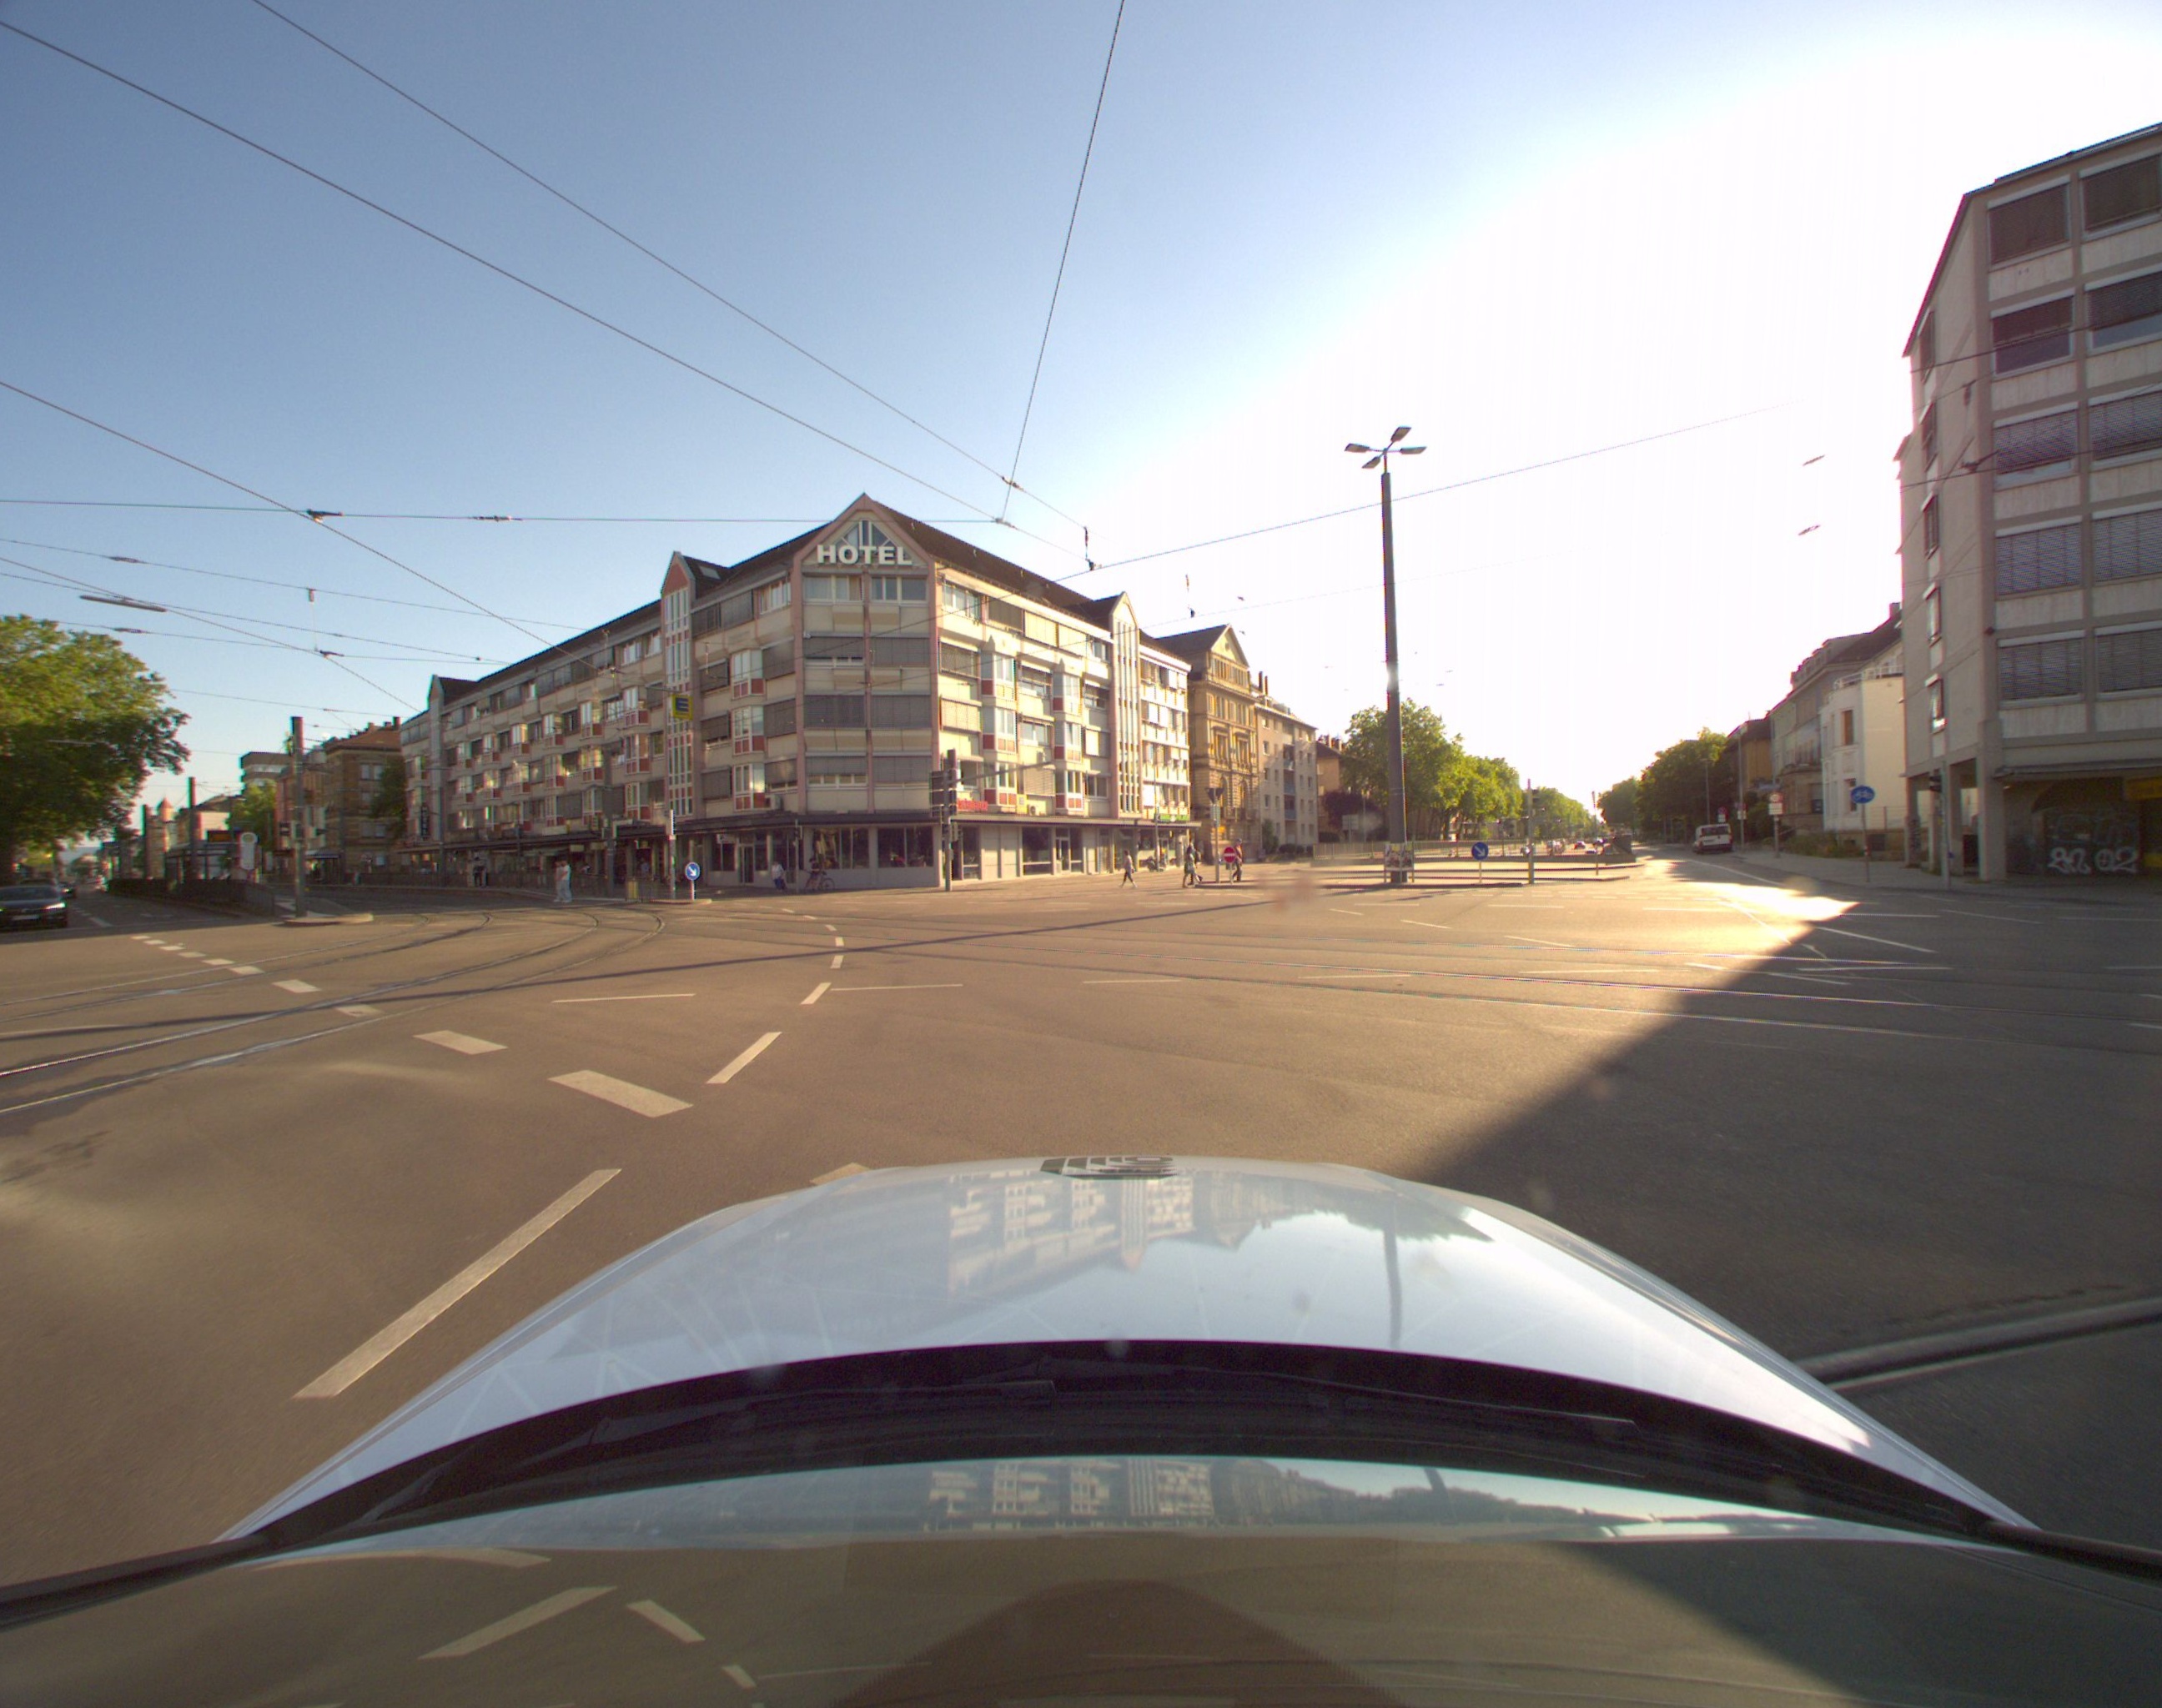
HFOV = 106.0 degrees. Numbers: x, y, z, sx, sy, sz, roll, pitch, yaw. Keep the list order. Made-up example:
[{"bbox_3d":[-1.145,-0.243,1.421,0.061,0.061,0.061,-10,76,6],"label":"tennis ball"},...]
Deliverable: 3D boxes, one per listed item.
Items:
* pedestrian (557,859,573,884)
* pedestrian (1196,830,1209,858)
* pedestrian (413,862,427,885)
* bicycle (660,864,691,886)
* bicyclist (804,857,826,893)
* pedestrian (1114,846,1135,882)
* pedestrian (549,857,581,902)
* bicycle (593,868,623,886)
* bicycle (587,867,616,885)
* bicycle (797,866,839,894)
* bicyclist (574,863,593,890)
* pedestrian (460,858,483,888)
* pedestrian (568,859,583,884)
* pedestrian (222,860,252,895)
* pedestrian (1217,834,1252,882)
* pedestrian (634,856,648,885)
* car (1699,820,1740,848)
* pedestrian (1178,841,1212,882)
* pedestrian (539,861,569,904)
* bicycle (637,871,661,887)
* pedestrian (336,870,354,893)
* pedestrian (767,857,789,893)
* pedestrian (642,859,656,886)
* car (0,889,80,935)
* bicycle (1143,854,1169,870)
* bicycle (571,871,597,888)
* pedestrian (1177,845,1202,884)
[{"bbox_3d":[-34.921,1.184,55.127,0.543,1.644,0.757,0,1,42],"label":"pedestrian"},{"bbox_3d":[10.346,-0.872,69.494,0.918,2.398,0.966,0,1,22],"label":"pedestrian"},{"bbox_3d":[-59.901,1.751,73.821,0.767,2.013,0.847,0,1,42],"label":"pedestrian"},{"bbox_3d":[-23.742,1.232,47.679,2.302,1.226,0.734,-1,0,38],"label":"bicycle"},{"bbox_3d":[-12.452,0.975,38.168,0.632,1.596,0.662,0,3,36],"label":"bicyclist"},{"bbox_3d":[1.804,0.421,33.563,0.850,1.465,0.686,0,-4,4],"label":"pedestrian"},{"bbox_3d":[-20.674,1.019,32.656,0.505,1.764,1.009,0,1,13],"label":"pedestrian"},{"bbox_3d":[-31.862,1.522,54.886,0.478,1.119,1.660,0,1,33],"label":"bicycle"},{"bbox_3d":[-32.883,1.507,55.863,0.559,1.119,1.660,0,1,33],"label":"bicycle"},{"bbox_3d":[-12.352,1.192,38.313,0.632,1.145,1.781,0,4,36],"label":"bicycle"},{"bbox_3d":[-29.309,1.296,47.958,0.791,1.532,0.633,-1,3,38],"label":"bicyclist"},{"bbox_3d":[-33.894,1.047,45.310,0.675,1.659,0.786,0,1,27],"label":"pedestrian"},{"bbox_3d":[-35.676,1.234,57.472,0.822,1.778,0.674,0,1,-27],"label":"pedestrian"},{"bbox_3d":[-38.401,1.056,37.052,0.615,1.577,0.693,0,1,13],"label":"pedestrian"},{"bbox_3d":[6.135,0.147,32.561,1.183,1.883,0.862,0,2,28],"label":"pedestrian"},{"bbox_3d":[-28.547,1.085,52.792,0.596,1.852,0.614,0,1,43],"label":"pedestrian"},{"bbox_3d":[50.992,-1.577,65.103,2.263,2.172,4.864,0,1,35],"label":"car"},{"bbox_3d":[4.842,0.304,34.605,1.183,1.731,0.861,0,1,28],"label":"pedestrian"},{"bbox_3d":[-21.574,1.154,33.333,0.619,1.694,0.868,0,1,1],"label":"pedestrian"},{"bbox_3d":[-26.194,1.506,49.395,2.051,0.917,0.504,-1,0,38],"label":"bicycle"},{"bbox_3d":[-56.208,2.106,62.182,0.675,1.659,0.786,0,1,27],"label":"pedestrian"},{"bbox_3d":[-14.376,0.975,38.605,0.710,1.662,0.635,-2,0,9],"label":"pedestrian"},{"bbox_3d":[-26.927,1.152,50.786,0.609,1.635,0.601,0,1,-12],"label":"pedestrian"},{"bbox_3d":[-35.691,1.940,27.848,3.887,1.244,1.762,1,1,40],"label":"car"},{"bbox_3d":[5.372,0.579,58.227,2.103,1.070,0.447,-1,1,-40],"label":"bicycle"},{"bbox_3d":[-29.276,1.510,47.947,1.886,0.930,0.633,-1,3,38],"label":"bicycle"},{"bbox_3d":[4.178,0.390,31.376,0.698,1.453,0.861,0,1,28],"label":"pedestrian"}]
